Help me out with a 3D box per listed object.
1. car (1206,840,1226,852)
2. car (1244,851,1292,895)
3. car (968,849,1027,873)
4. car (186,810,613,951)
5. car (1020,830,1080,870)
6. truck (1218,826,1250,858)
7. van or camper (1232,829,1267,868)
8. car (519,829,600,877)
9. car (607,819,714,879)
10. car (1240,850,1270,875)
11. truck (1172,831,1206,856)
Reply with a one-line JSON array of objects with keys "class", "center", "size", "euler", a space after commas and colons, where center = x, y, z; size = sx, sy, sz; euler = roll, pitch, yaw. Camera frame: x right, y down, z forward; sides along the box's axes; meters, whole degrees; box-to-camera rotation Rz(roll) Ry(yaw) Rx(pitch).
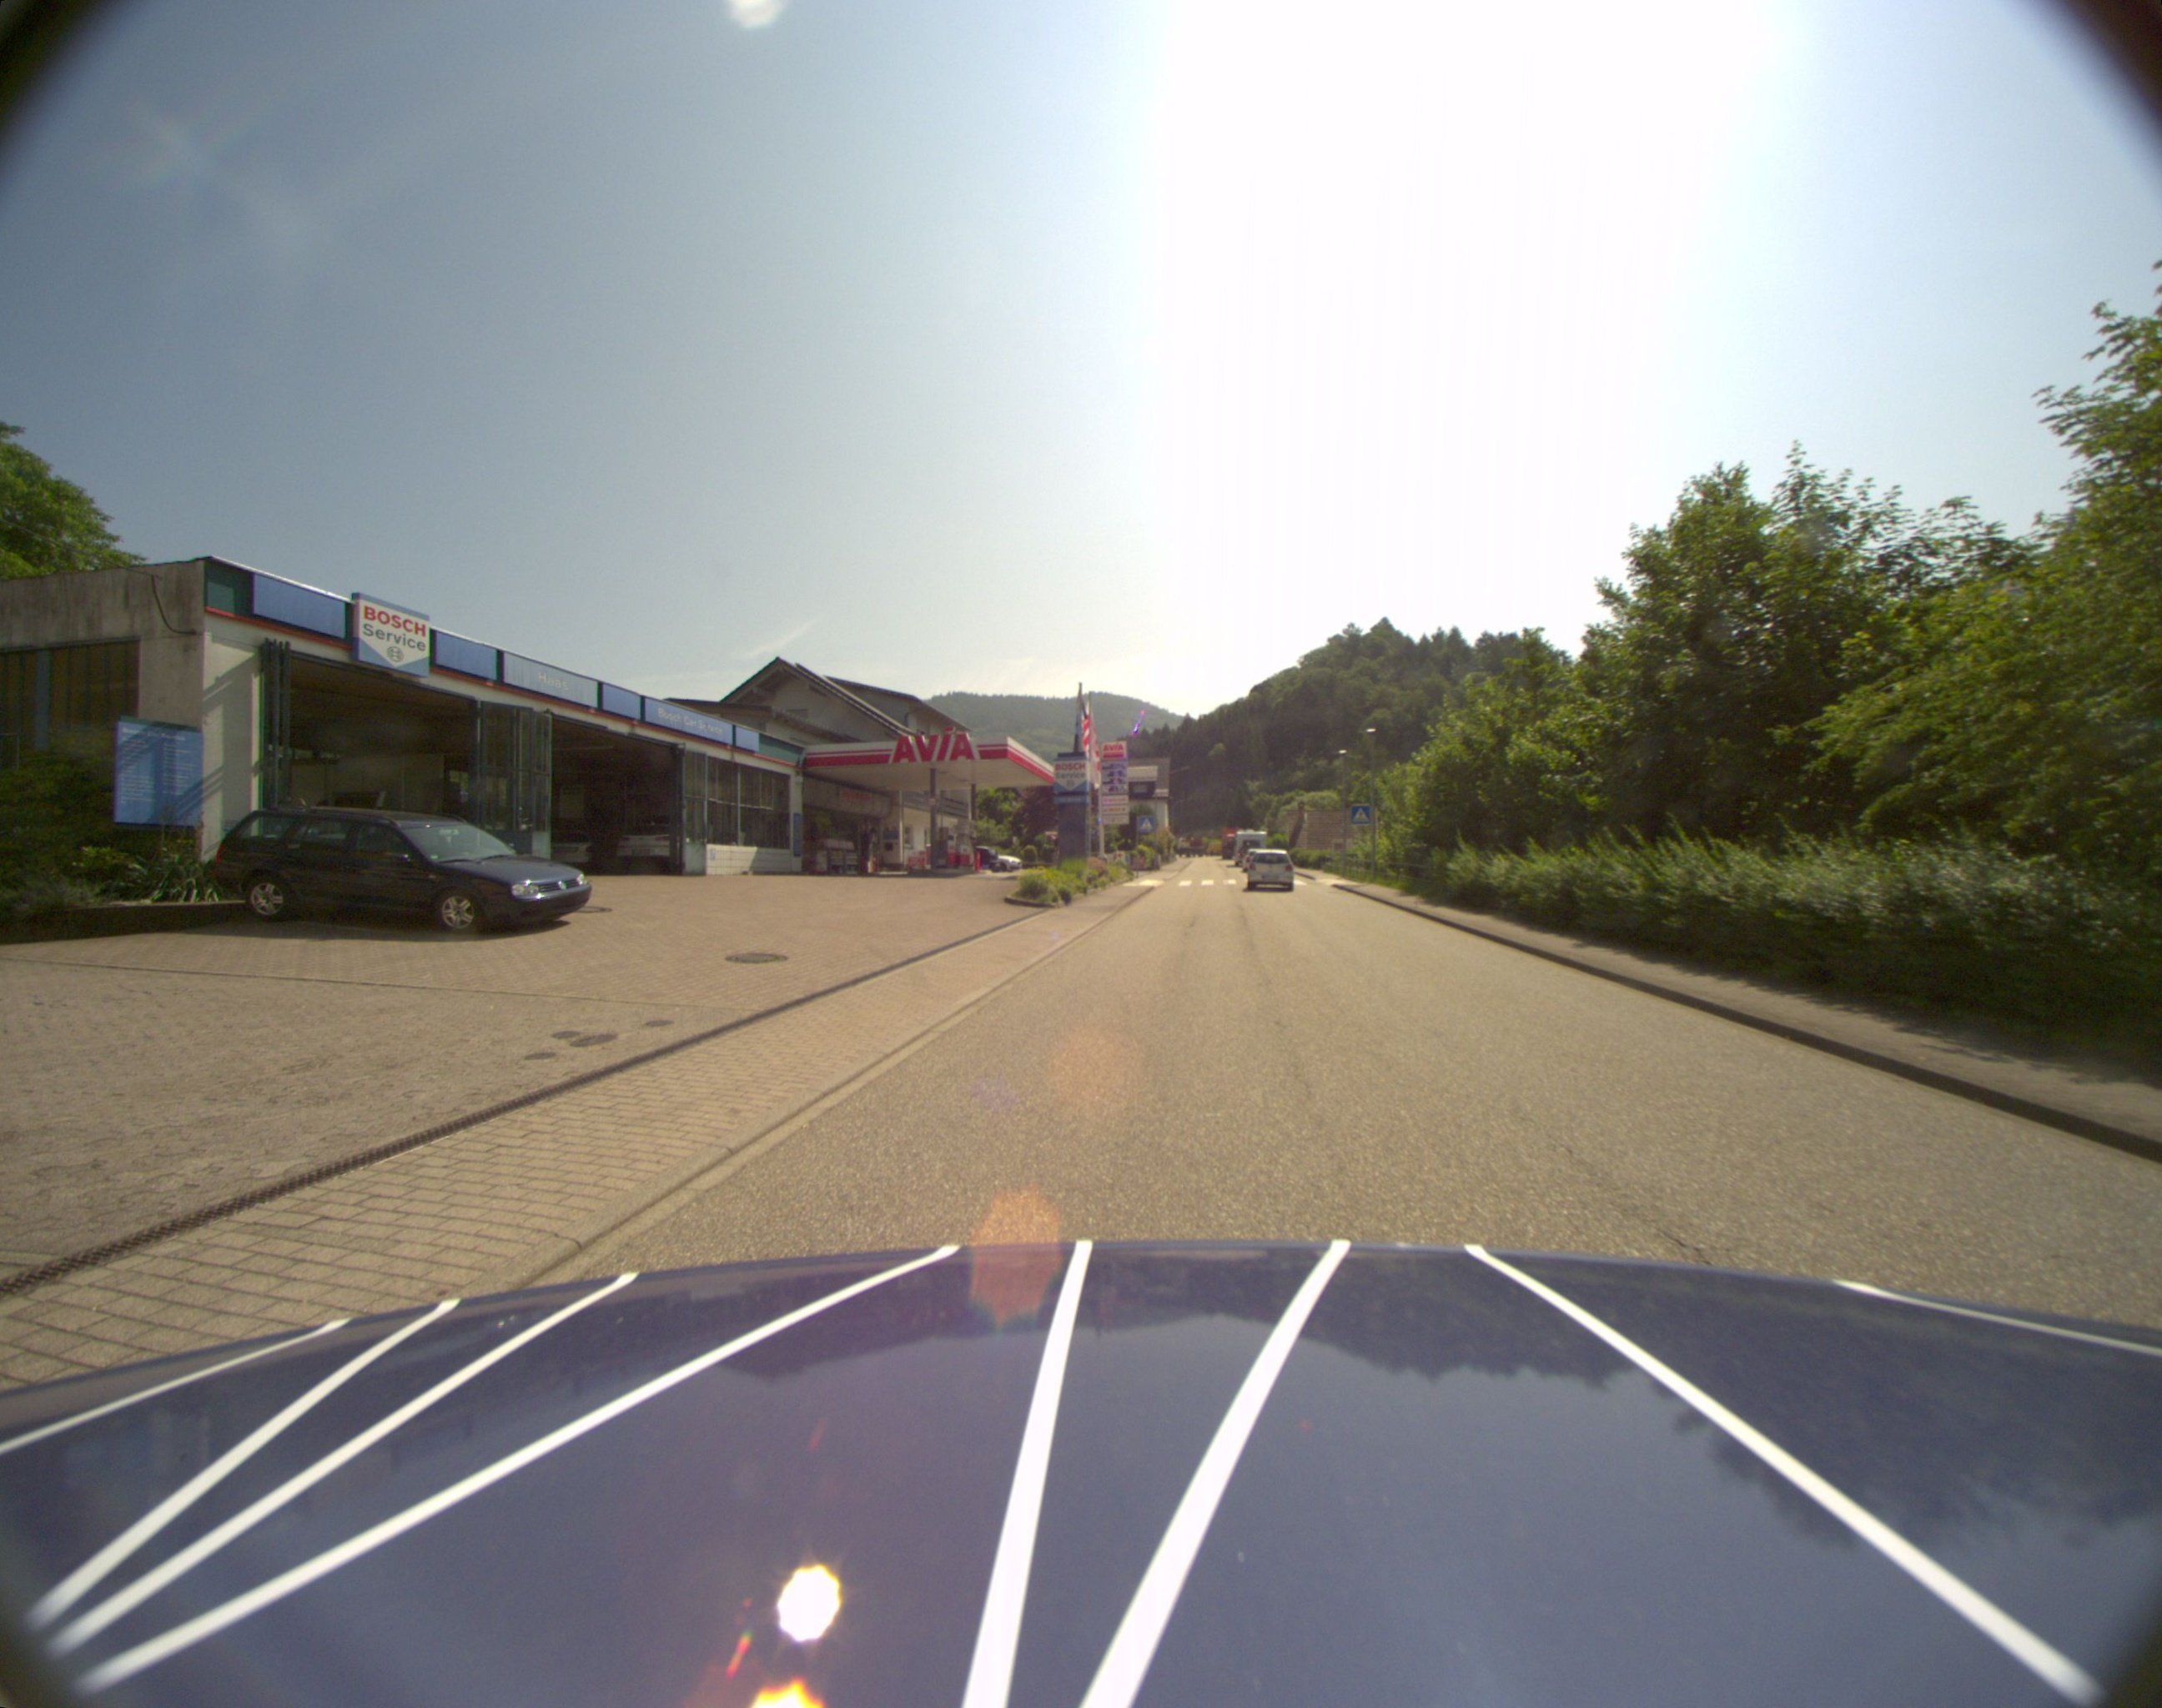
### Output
[{"class": "car", "center": [20.047, -1.190, 113.083], "size": [1.782, 1.656, 3.573], "euler": [3, 2, -8]}, {"class": "car", "center": [7.014, 0.640, 28.316], "size": [1.592, 1.474, 3.761], "euler": [1, 1, 16]}, {"class": "car", "center": [-4.802, 0.387, 43.916], "size": [3.078, 1.138, 1.336], "euler": [4, 2, 9]}, {"class": "car", "center": [-9.260, 0.300, 10.587], "size": [4.328, 1.536, 1.799], "euler": [3, 3, 1]}, {"class": "car", "center": [-1.309, -0.222, 33.476], "size": [1.694, 1.568, 3.914], "euler": [4, 2, 11]}, {"class": "truck", "center": [17.820, -1.442, 88.969], "size": [2.649, 3.562, 8.195], "euler": [2, 1, 5]}, {"class": "van or camper", "center": [13.807, -0.448, 62.686], "size": [2.362, 2.936, 8.057], "euler": [1, 1, 10]}, {"class": "car", "center": [-16.499, 0.023, 23.975], "size": [1.552, 1.397, 3.469], "euler": [2, -2, -44]}, {"class": "car", "center": [-13.359, -0.216, 24.391], "size": [1.606, 1.678, 3.926], "euler": [3, 2, -7]}, {"class": "car", "center": [10.987, 0.495, 48.126], "size": [1.607, 1.398, 3.829], "euler": [2, 2, 10]}, {"class": "truck", "center": [16.075, -1.560, 113.362], "size": [2.653, 3.562, 7.763], "euler": [1, 1, -10]}]
